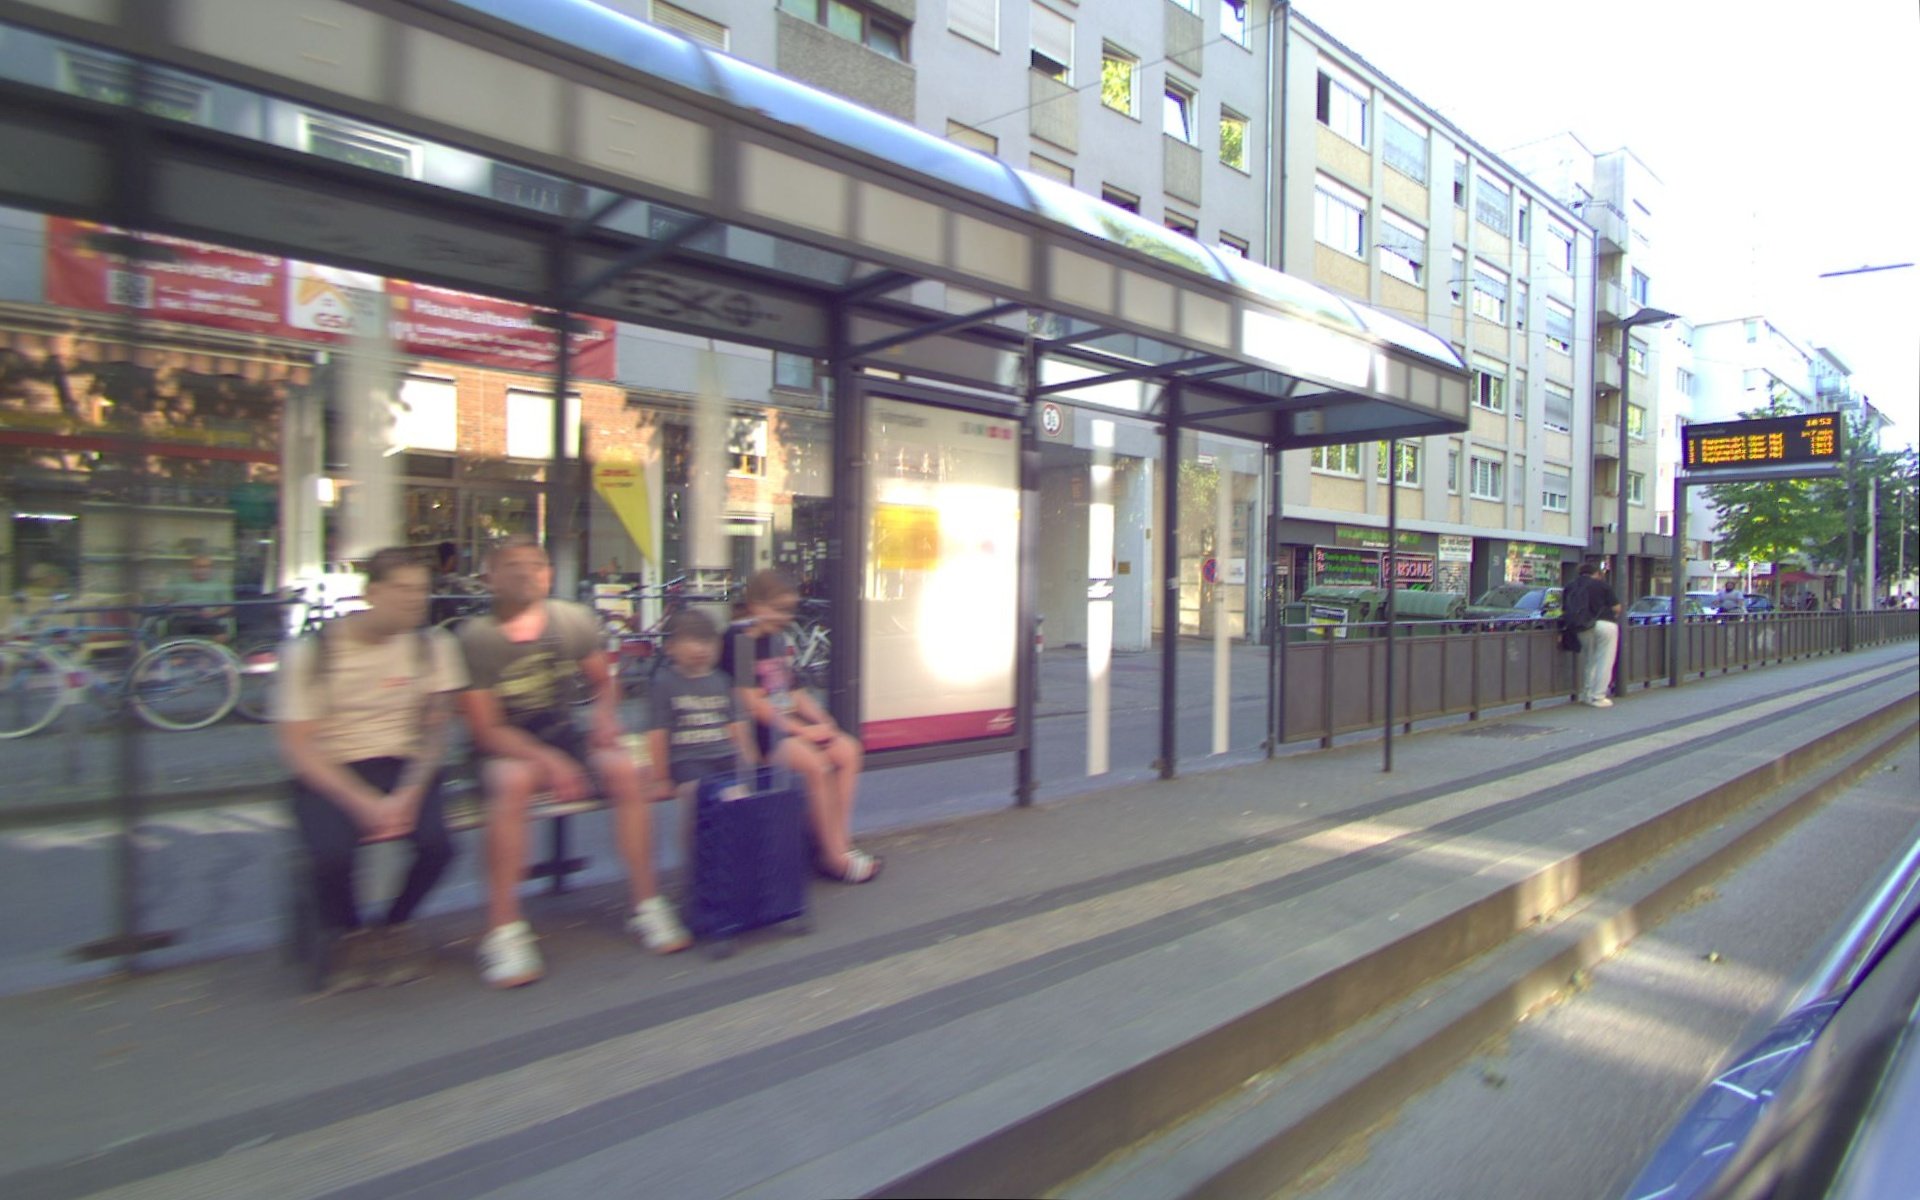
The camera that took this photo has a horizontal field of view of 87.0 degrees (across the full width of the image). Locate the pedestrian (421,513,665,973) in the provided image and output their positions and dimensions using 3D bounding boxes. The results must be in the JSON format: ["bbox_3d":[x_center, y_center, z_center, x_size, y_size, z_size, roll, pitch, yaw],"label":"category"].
[{"bbox_3d":[-1.359,0.410,3.304,0.583,1.322,0.519,-1,0,39],"label":"pedestrian"}]

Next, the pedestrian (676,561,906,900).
[{"bbox_3d":[-0.682,0.465,4.110,0.677,1.220,0.640,0,0,39],"label":"pedestrian"}]

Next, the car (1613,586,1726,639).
[{"bbox_3d":[21.469,0.336,30.569,3.930,1.505,1.897,-1,0,-41],"label":"car"}]

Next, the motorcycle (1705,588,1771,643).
[{"bbox_3d":[21.988,0.418,28.581,2.170,1.473,1.054,-1,0,-41],"label":"motorcycle"}]

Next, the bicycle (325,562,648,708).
[{"bbox_3d":[-4.544,0.310,9.943,0.772,1.194,2.738,8,5,44],"label":"bicycle"}]

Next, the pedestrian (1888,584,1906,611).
[{"bbox_3d":[59.107,-0.166,63.863,0.954,1.675,0.751,0,0,-42],"label":"pedestrian"}]

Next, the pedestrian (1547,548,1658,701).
[{"bbox_3d":[6.981,0.253,11.010,0.836,1.596,0.650,0,0,-23],"label":"pedestrian"}]

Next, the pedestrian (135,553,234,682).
[{"bbox_3d":[-7.703,0.163,10.051,0.677,1.220,0.640,0,0,39],"label":"pedestrian"}]

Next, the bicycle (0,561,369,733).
[{"bbox_3d":[-6.454,0.317,8.221,0.772,1.194,2.738,6,5,44],"label":"bicycle"}]

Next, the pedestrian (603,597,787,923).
[{"bbox_3d":[-0.957,0.524,3.656,0.519,1.069,0.420,0,0,39],"label":"pedestrian"}]

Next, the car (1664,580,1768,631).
[{"bbox_3d":[25.392,0.138,33.957,3.930,1.601,1.997,-1,0,-41],"label":"car"}]

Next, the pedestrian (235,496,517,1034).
[{"bbox_3d":[-1.703,0.408,2.942,0.717,1.343,0.486,0,0,39],"label":"pedestrian"}]

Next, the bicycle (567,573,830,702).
[{"bbox_3d":[-2.797,0.380,11.167,0.772,1.194,2.738,8,5,44],"label":"bicycle"}]

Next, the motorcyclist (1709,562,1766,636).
[{"bbox_3d":[21.958,-0.026,28.570,1.158,2.039,1.054,0,0,-41],"label":"motorcyclist"}]

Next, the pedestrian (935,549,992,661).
[{"bbox_3d":[0.054,0.072,17.127,0.666,1.827,0.774,-1,1,-23],"label":"pedestrian"}]

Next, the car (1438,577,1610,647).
[{"bbox_3d":[13.318,0.239,23.793,4.576,1.502,1.958,-1,0,-39],"label":"car"}]

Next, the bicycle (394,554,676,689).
[{"bbox_3d":[-4.391,0.181,10.755,0.769,1.194,2.749,7,4,34],"label":"bicycle"}]

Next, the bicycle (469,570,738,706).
[{"bbox_3d":[-3.665,0.330,10.744,0.768,1.194,2.750,7,4,33],"label":"bicycle"}]

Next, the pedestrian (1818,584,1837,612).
[{"bbox_3d":[52.402,-0.099,61.116,0.954,1.675,0.751,0,0,-42],"label":"pedestrian"}]

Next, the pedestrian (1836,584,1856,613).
[{"bbox_3d":[51.295,-0.071,58.593,0.954,1.675,0.751,0,0,-42],"label":"pedestrian"}]

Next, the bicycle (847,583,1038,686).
[{"bbox_3d":[-0.173,0.431,13.640,0.772,1.194,2.738,8,5,44],"label":"bicycle"}]

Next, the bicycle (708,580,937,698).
[{"bbox_3d":[-1.571,0.432,12.108,0.772,1.194,2.738,8,5,44],"label":"bicycle"}]

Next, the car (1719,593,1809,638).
[{"bbox_3d":[30.717,0.550,38.639,3.930,1.612,1.997,-1,0,-41],"label":"car"}]
